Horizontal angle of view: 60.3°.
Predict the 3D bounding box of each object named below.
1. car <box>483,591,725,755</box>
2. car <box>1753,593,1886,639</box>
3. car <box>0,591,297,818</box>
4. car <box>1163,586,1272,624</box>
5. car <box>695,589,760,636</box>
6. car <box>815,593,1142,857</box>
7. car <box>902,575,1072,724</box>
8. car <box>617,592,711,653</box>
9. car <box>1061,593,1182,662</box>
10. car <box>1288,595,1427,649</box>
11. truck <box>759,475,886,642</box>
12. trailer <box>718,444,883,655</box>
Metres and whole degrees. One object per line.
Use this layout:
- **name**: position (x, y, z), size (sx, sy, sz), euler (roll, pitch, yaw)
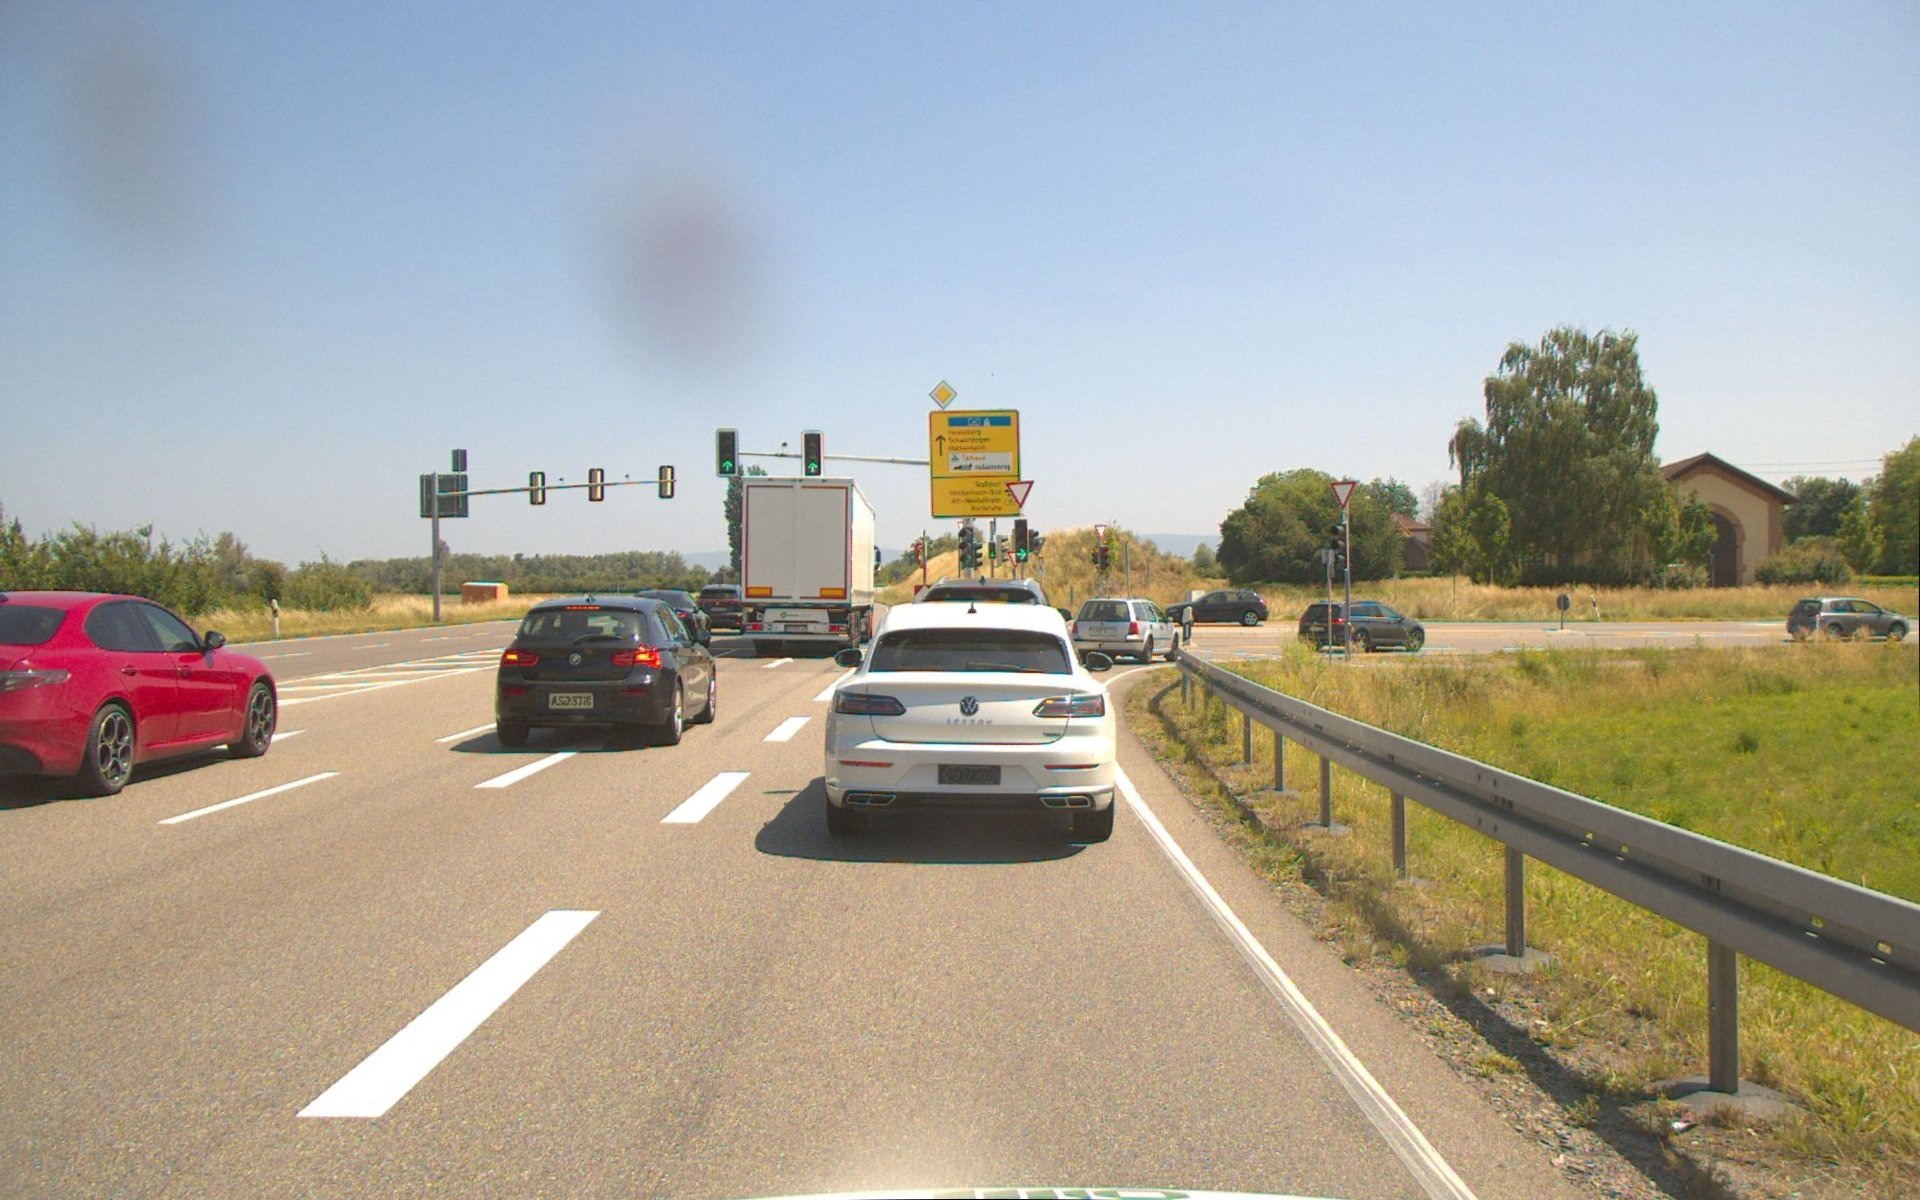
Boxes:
- **car**: position (-3.571, 0.660, 17.350), size (1.748, 1.455, 4.379), euler (1, 1, -3)
- **car**: position (29.197, 0.538, 56.208), size (3.805, 1.548, 1.799), euler (0, 0, -15)
- **car**: position (-6.971, 0.674, 13.140), size (1.714, 1.446, 4.564), euler (1, 1, -2)
- **car**: position (10.376, 0.203, 66.875), size (4.171, 1.392, 1.777), euler (-1, 1, 2)
- **car**: position (-7.788, 0.409, 55.615), size (1.773, 1.519, 4.019), euler (1, 0, -3)
- **car**: position (0.073, 0.700, 11.493), size (1.810, 1.458, 4.607), euler (0, 0, -1)
- **car**: position (0.448, 0.554, 20.689), size (1.894, 1.644, 4.380), euler (0, 0, 4)
- **car**: position (-7.297, 0.529, 41.132), size (1.773, 1.423, 4.019), euler (1, 0, -3)
- **car**: position (3.689, 0.578, 37.243), size (1.762, 1.454, 4.094), euler (0, 0, 20)
- **car**: position (11.702, 0.626, 48.552), size (4.375, 1.502, 1.779), euler (0, 0, -41)
- **truck**: position (-3.984, -1.176, 49.565), size (3.312, 4.622, 6.371), euler (1, 0, -1)
- **trailer**: position (-3.832, -1.140, 43.082), size (3.313, 4.622, 12.867), euler (1, 0, -2)
